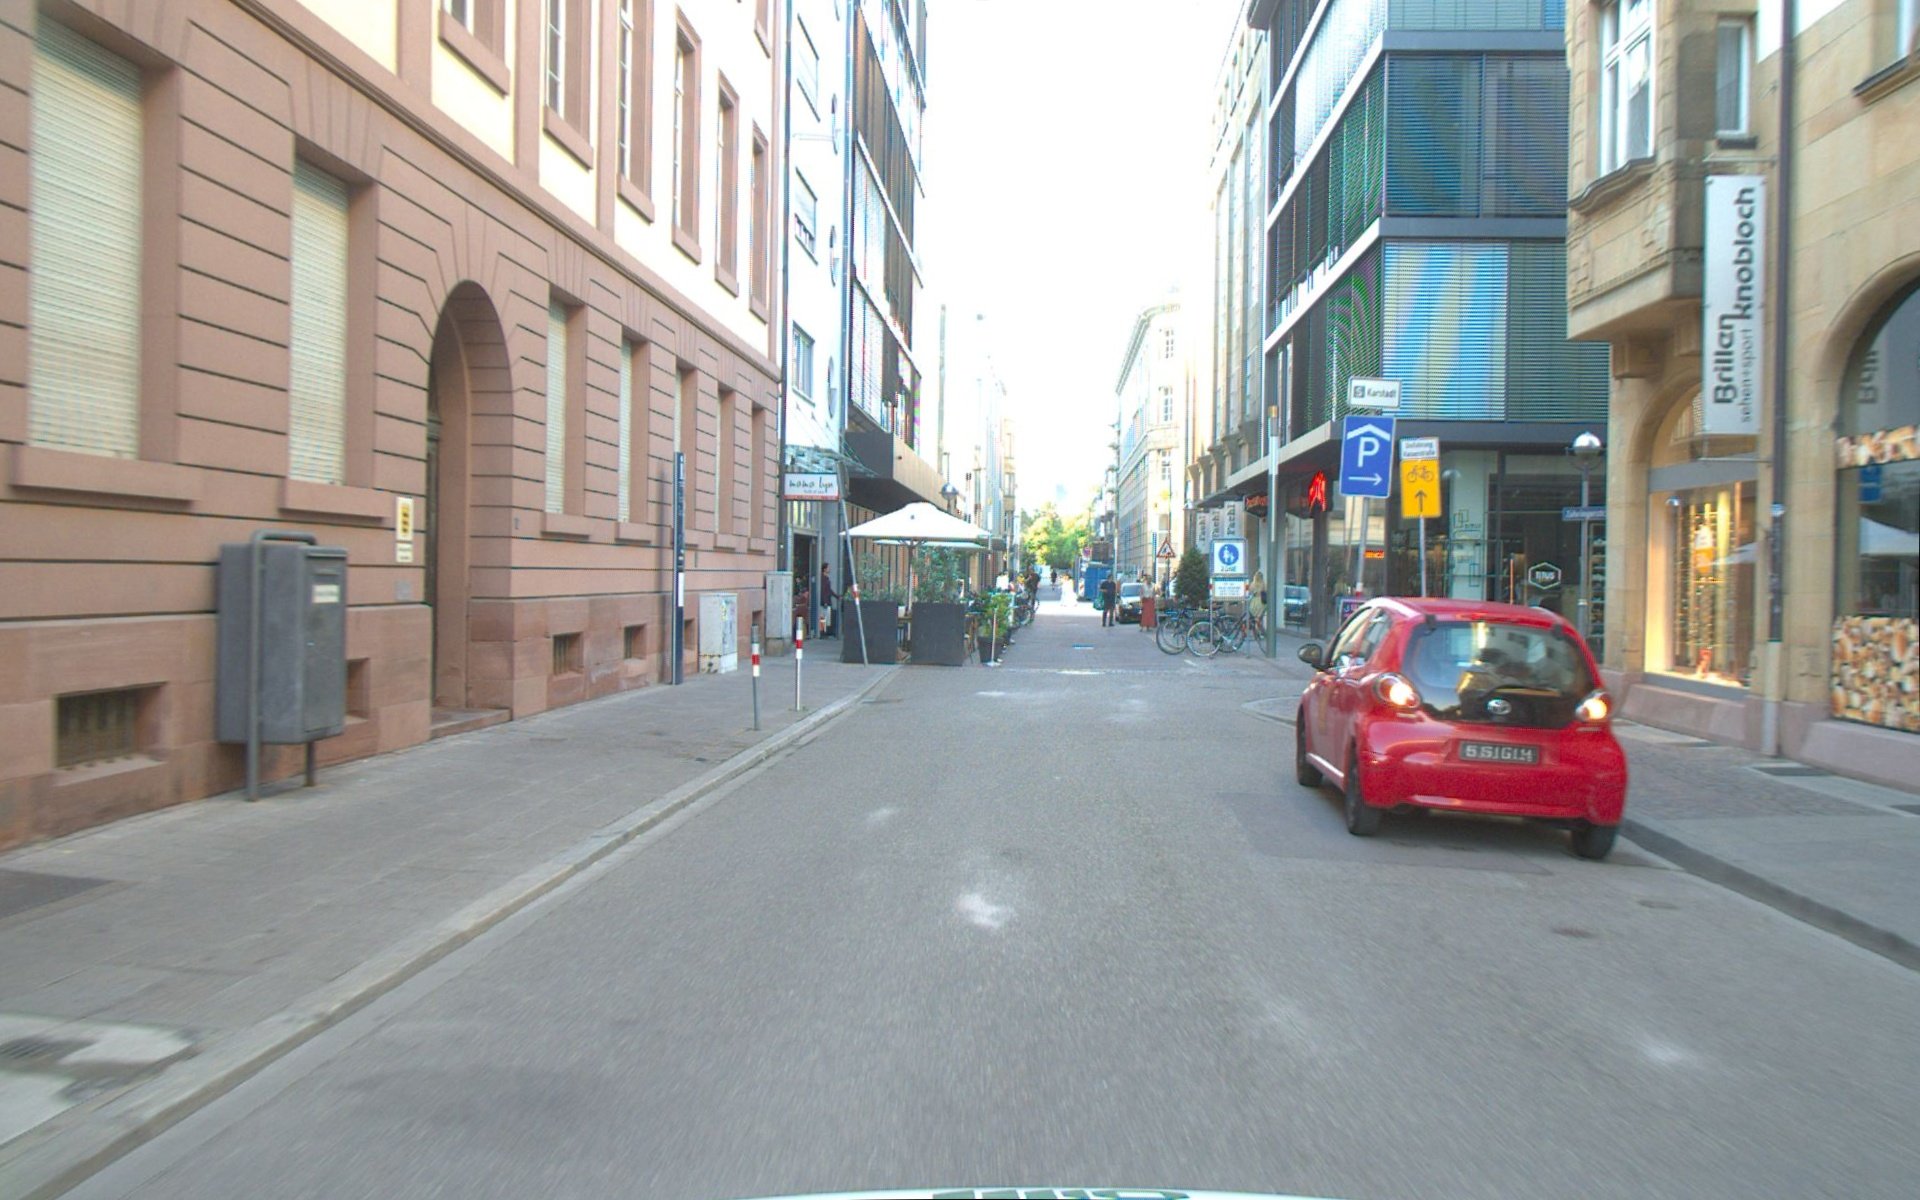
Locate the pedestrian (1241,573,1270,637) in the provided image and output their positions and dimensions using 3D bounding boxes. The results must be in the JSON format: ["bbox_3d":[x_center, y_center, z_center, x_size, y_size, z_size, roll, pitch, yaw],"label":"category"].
[{"bbox_3d":[7.165,0.118,40.104,0.643,1.513,0.493,1,0,5],"label":"pedestrian"}]

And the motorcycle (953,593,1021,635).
[{"bbox_3d":[0.701,0.361,43.166,1.765,1.058,0.493,1,0,-1],"label":"motorcycle"}]

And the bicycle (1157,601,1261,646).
[{"bbox_3d":[5.382,0.494,35.811,2.155,0.921,0.649,1,1,-1],"label":"bicycle"}]

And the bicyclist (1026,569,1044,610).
[{"bbox_3d":[3.086,-0.447,68.432,0.624,1.669,0.771,1,0,-6],"label":"bicyclist"}]

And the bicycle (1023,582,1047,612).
[{"bbox_3d":[3.081,-0.127,68.314,0.624,1.177,2.498,1,1,-5],"label":"bicycle"}]

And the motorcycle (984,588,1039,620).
[{"bbox_3d":[1.669,0.118,53.997,1.764,1.007,0.560,1,0,-1],"label":"motorcycle"}]

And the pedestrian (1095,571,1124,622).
[{"bbox_3d":[5.177,-0.126,57.448,0.849,1.743,0.851,1,0,-5],"label":"pedestrian"}]

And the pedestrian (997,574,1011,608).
[{"bbox_3d":[2.144,-0.439,80.333,0.592,1.651,0.528,1,0,-7],"label":"pedestrian"}]

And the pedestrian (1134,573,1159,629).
[{"bbox_3d":[5.485,0.028,48.668,0.620,1.648,0.466,1,0,-6],"label":"pedestrian"}]

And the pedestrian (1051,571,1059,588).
[{"bbox_3d":[9.563,-2.071,166.538,0.787,1.702,0.889,1,1,5],"label":"pedestrian"}]

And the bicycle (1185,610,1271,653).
[{"bbox_3d":[5.098,0.599,31.524,1.533,0.782,0.557,1,1,-1],"label":"bicycle"}]

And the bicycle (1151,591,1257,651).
[{"bbox_3d":[4.866,0.410,33.082,2.010,1.154,0.649,1,0,-1],"label":"bicycle"}]

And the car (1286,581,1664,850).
[{"bbox_3d":[3.332,0.647,11.364,1.615,1.452,3.537,4,1,4],"label":"car"}]

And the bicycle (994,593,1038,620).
[{"bbox_3d":[1.951,0.223,57.613,1.498,0.912,0.482,1,1,-25],"label":"bicycle"}]

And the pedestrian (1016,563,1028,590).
[{"bbox_3d":[3.814,-1.450,102.162,0.664,1.651,0.626,1,0,5],"label":"pedestrian"}]

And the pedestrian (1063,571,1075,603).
[{"bbox_3d":[5.631,-0.666,85.578,0.591,1.651,0.530,1,0,5],"label":"pedestrian"}]

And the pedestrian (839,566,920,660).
[{"bbox_3d":[-1.324,0.206,27.341,1.264,1.513,0.661,1,0,1],"label":"pedestrian"}]

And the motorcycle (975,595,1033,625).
[{"bbox_3d":[1.374,0.306,51.323,1.764,0.891,0.560,1,0,-1],"label":"motorcycle"}]

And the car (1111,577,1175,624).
[{"bbox_3d":[6.641,-0.018,60.362,1.952,1.639,4.001,1,1,2],"label":"car"}]

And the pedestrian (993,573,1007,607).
[{"bbox_3d":[1.945,-0.471,80.990,0.592,1.651,0.528,1,0,-7],"label":"pedestrian"}]

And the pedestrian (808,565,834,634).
[{"bbox_3d":[-3.105,-0.020,36.996,0.481,1.513,0.566,1,0,1],"label":"pedestrian"}]

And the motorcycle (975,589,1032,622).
[{"bbox_3d":[1.367,0.184,52.355,1.764,1.007,0.560,1,0,-1],"label":"motorcycle"}]

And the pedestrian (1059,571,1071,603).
[{"bbox_3d":[5.481,-0.696,86.213,0.591,1.651,0.626,1,0,5],"label":"pedestrian"}]
